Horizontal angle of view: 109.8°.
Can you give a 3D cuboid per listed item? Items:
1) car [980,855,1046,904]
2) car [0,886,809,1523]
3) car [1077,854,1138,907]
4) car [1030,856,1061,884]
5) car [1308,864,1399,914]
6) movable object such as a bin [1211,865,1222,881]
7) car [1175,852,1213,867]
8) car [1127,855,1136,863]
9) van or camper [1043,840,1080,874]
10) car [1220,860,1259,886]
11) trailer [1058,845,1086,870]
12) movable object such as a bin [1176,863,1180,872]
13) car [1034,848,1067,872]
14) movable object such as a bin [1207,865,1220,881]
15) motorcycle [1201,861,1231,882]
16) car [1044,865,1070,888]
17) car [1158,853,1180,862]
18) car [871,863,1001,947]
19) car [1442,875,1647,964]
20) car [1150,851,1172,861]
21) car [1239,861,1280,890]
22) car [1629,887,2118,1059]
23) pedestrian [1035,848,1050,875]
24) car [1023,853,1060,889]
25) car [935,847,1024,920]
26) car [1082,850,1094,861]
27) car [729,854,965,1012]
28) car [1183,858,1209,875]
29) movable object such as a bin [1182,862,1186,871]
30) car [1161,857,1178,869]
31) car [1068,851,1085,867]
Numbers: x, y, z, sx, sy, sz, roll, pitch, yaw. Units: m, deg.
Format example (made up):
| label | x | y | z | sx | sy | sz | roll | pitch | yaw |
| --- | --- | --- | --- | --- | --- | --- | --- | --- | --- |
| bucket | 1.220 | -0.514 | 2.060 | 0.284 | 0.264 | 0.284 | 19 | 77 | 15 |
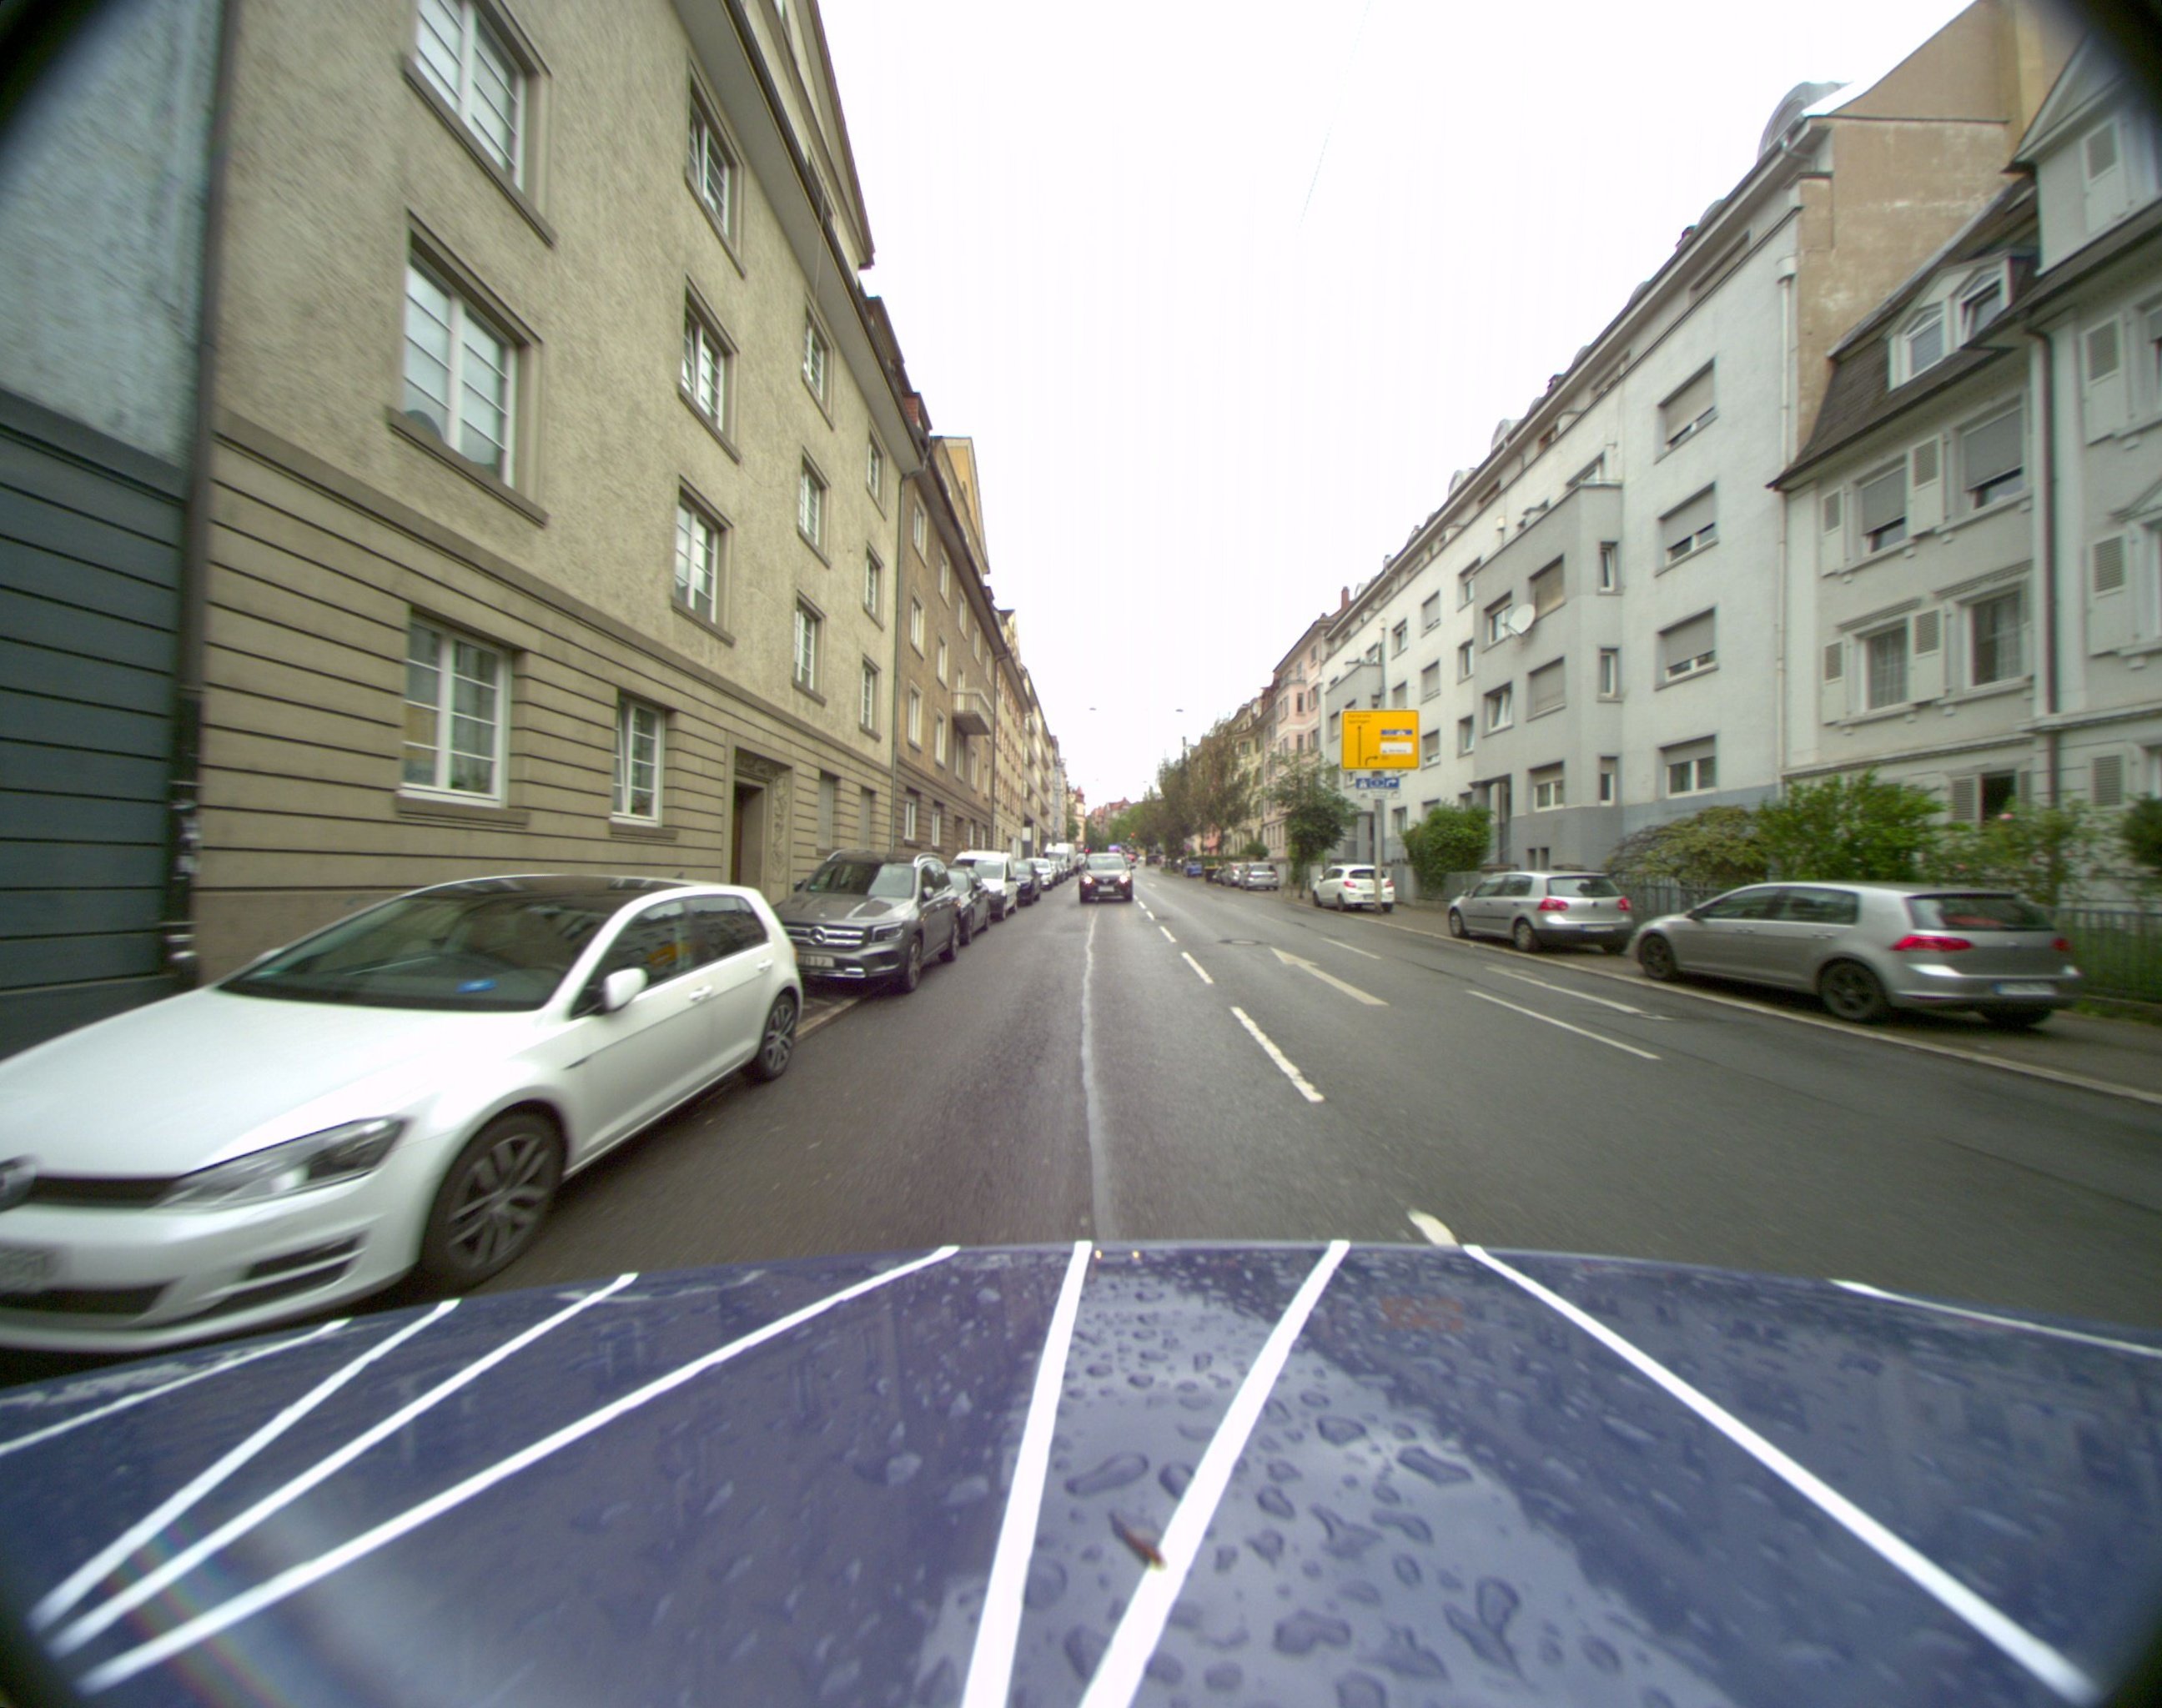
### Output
| label | x | y | z | sx | sy | sz | roll | pitch | yaw |
| --- | --- | --- | --- | --- | --- | --- | --- | --- | --- |
| car | -2.346 | 0.854 | 27.274 | 1.795 | 1.539 | 4.226 | 2 | 0 | 2 |
| car | -3.069 | 1.003 | 3.986 | 1.733 | 1.421 | 3.974 | 3 | 0 | 1 |
| car | 0.842 | 0.836 | 26.292 | 1.889 | 1.543 | 3.999 | -2 | 1 | 0 |
| car | -2.062 | 0.895 | 44.968 | 1.636 | 1.470 | 3.734 | 4 | 0 | 0 |
| car | 8.943 | 1.101 | 25.217 | 1.650 | 1.499 | 3.796 | 0 | 0 | 0 |
| movable object such as a bin | 9.324 | 1.300 | 52.174 | 0.526 | 1.052 | 0.483 | -3 | 2 | -20 |
| car | 15.080 | 0.747 | 101.200 | 4.731 | 1.894 | 1.918 | -1 | 1 | -1 |
| car | 10.362 | 0.988 | 155.504 | 1.771 | 1.540 | 3.652 | -1 | 1 | 1 |
| van or camper | -1.525 | 0.247 | 62.823 | 2.189 | 2.683 | 6.422 | 1 | 0 | 6 |
| car | 9.512 | 1.120 | 45.845 | 1.604 | 1.388 | 3.887 | 0 | 1 | 1 |
| trailer | -0.769 | 0.362 | 69.490 | 1.998 | 2.139 | 5.074 | 3 | -1 | 4 |
| movable object such as a bin | 10.097 | 1.420 | 79.335 | 0.365 | 0.884 | 0.572 | -1 | 1 | 1 |
| car | -1.925 | 0.368 | 49.444 | 1.782 | 1.471 | 4.588 | 2 | 0 | 1 |
| movable object such as a bin | 9.302 | 1.316 | 53.392 | 0.826 | 1.052 | 0.483 | -2 | 1 | 2 |
| motorcycle | 8.997 | 1.142 | 50.636 | 1.806 | 1.307 | 0.743 | 1 | 1 | 43 |
| car | -1.686 | 1.562 | 54.327 | 1.782 | 1.471 | 4.188 | 1 | 1 | -2 |
| car | 16.510 | 0.612 | 142.881 | 3.928 | 1.613 | 1.592 | 1 | 1 | 2 |
| car | -2.882 | 0.963 | 16.114 | 1.845 | 1.401 | 4.387 | 3 | 0 | 0 |
| car | 8.698 | 1.154 | 14.696 | 1.687 | 1.382 | 3.909 | -1 | 0 | 2 |
| car | 15.255 | 0.444 | 145.196 | 3.929 | 1.836 | 1.867 | 1 | 1 | -1 |
| car | 9.559 | 1.129 | 40.933 | 1.604 | 1.442 | 3.889 | -1 | 0 | 5 |
| car | 8.649 | 1.168 | 8.907 | 1.686 | 1.382 | 3.936 | 0 | 0 | 2 |
| pedestrian | -2.671 | 0.526 | 52.346 | 0.688 | 1.777 | 0.711 | 1 | 2 | -30 |
| car | -2.010 | 0.836 | 39.320 | 1.636 | 1.629 | 4.194 | 3 | 0 | 0 |
| car | -2.723 | 0.748 | 21.261 | 1.795 | 1.807 | 4.080 | 2 | 0 | 1 |
| car | 1.229 | 0.214 | 132.833 | 1.826 | 1.808 | 4.520 | 1 | 1 | 2 |
| car | -2.843 | 0.853 | 10.290 | 1.845 | 1.611 | 4.207 | 2 | 1 | 0 |
| car | 10.083 | 1.070 | 66.776 | 1.683 | 1.377 | 4.603 | 2 | 0 | 1 |
| movable object such as a bin | 10.766 | 1.311 | 79.563 | 0.365 | 0.906 | 0.572 | -1 | 1 | 1 |
| car | 11.080 | 1.110 | 95.570 | 1.685 | 1.409 | 4.138 | 1 | 1 | 2 |
| car | -0.546 | 0.572 | 94.347 | 1.994 | 1.944 | 4.822 | 1 | 1 | 1 |
